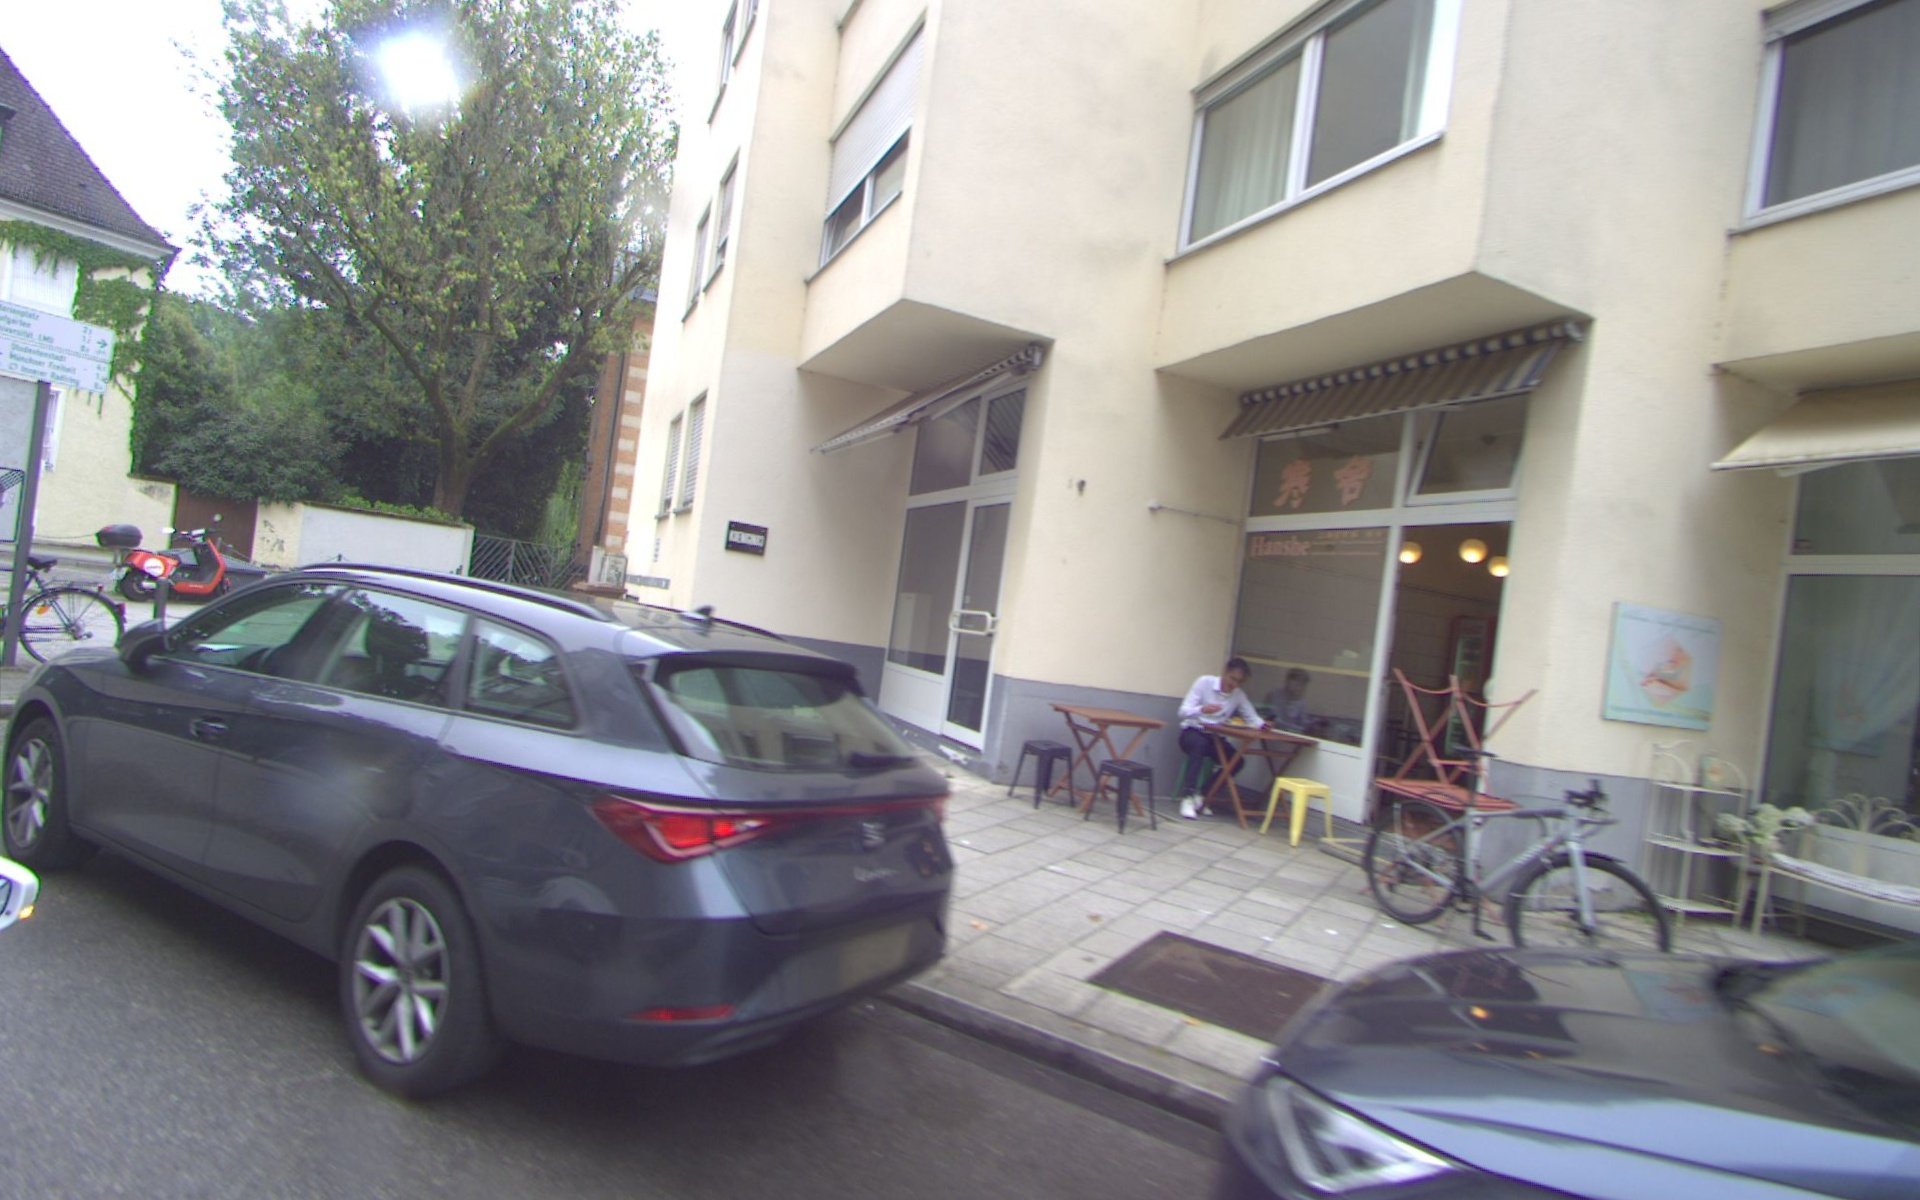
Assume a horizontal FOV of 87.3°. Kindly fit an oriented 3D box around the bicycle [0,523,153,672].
[{"bbox_3d":[-7.914,-0.061,8.317,1.779,1.099,0.660,7,1,-32],"label":"bicycle"}]

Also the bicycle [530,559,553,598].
[{"bbox_3d":[-14.364,-0.728,34.512,0.529,1.233,2.071,8,-1,-24],"label":"bicycle"}]

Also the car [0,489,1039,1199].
[{"bbox_3d":[-2.159,0.546,4.132,4.532,1.489,1.697,7,-1,30],"label":"car"}]

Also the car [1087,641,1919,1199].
[{"bbox_3d":[2.265,1.087,1.455,3.790,1.489,1.637,7,-1,31],"label":"car"}]

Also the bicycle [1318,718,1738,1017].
[{"bbox_3d":[2.912,1.321,5.414,0.743,1.045,1.789,6,1,-23],"label":"bicycle"}]

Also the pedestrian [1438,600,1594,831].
[{"bbox_3d":[4.988,1.008,9.019,1.009,1.872,0.732,4,5,-45],"label":"pedestrian"}]

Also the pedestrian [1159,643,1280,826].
[{"bbox_3d":[2.190,1.124,8.535,0.526,1.415,0.669,8,-1,-25],"label":"pedestrian"}]

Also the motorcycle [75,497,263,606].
[{"bbox_3d":[-11.614,-0.665,14.878,0.801,1.372,2.085,8,0,9],"label":"motorcycle"}]
